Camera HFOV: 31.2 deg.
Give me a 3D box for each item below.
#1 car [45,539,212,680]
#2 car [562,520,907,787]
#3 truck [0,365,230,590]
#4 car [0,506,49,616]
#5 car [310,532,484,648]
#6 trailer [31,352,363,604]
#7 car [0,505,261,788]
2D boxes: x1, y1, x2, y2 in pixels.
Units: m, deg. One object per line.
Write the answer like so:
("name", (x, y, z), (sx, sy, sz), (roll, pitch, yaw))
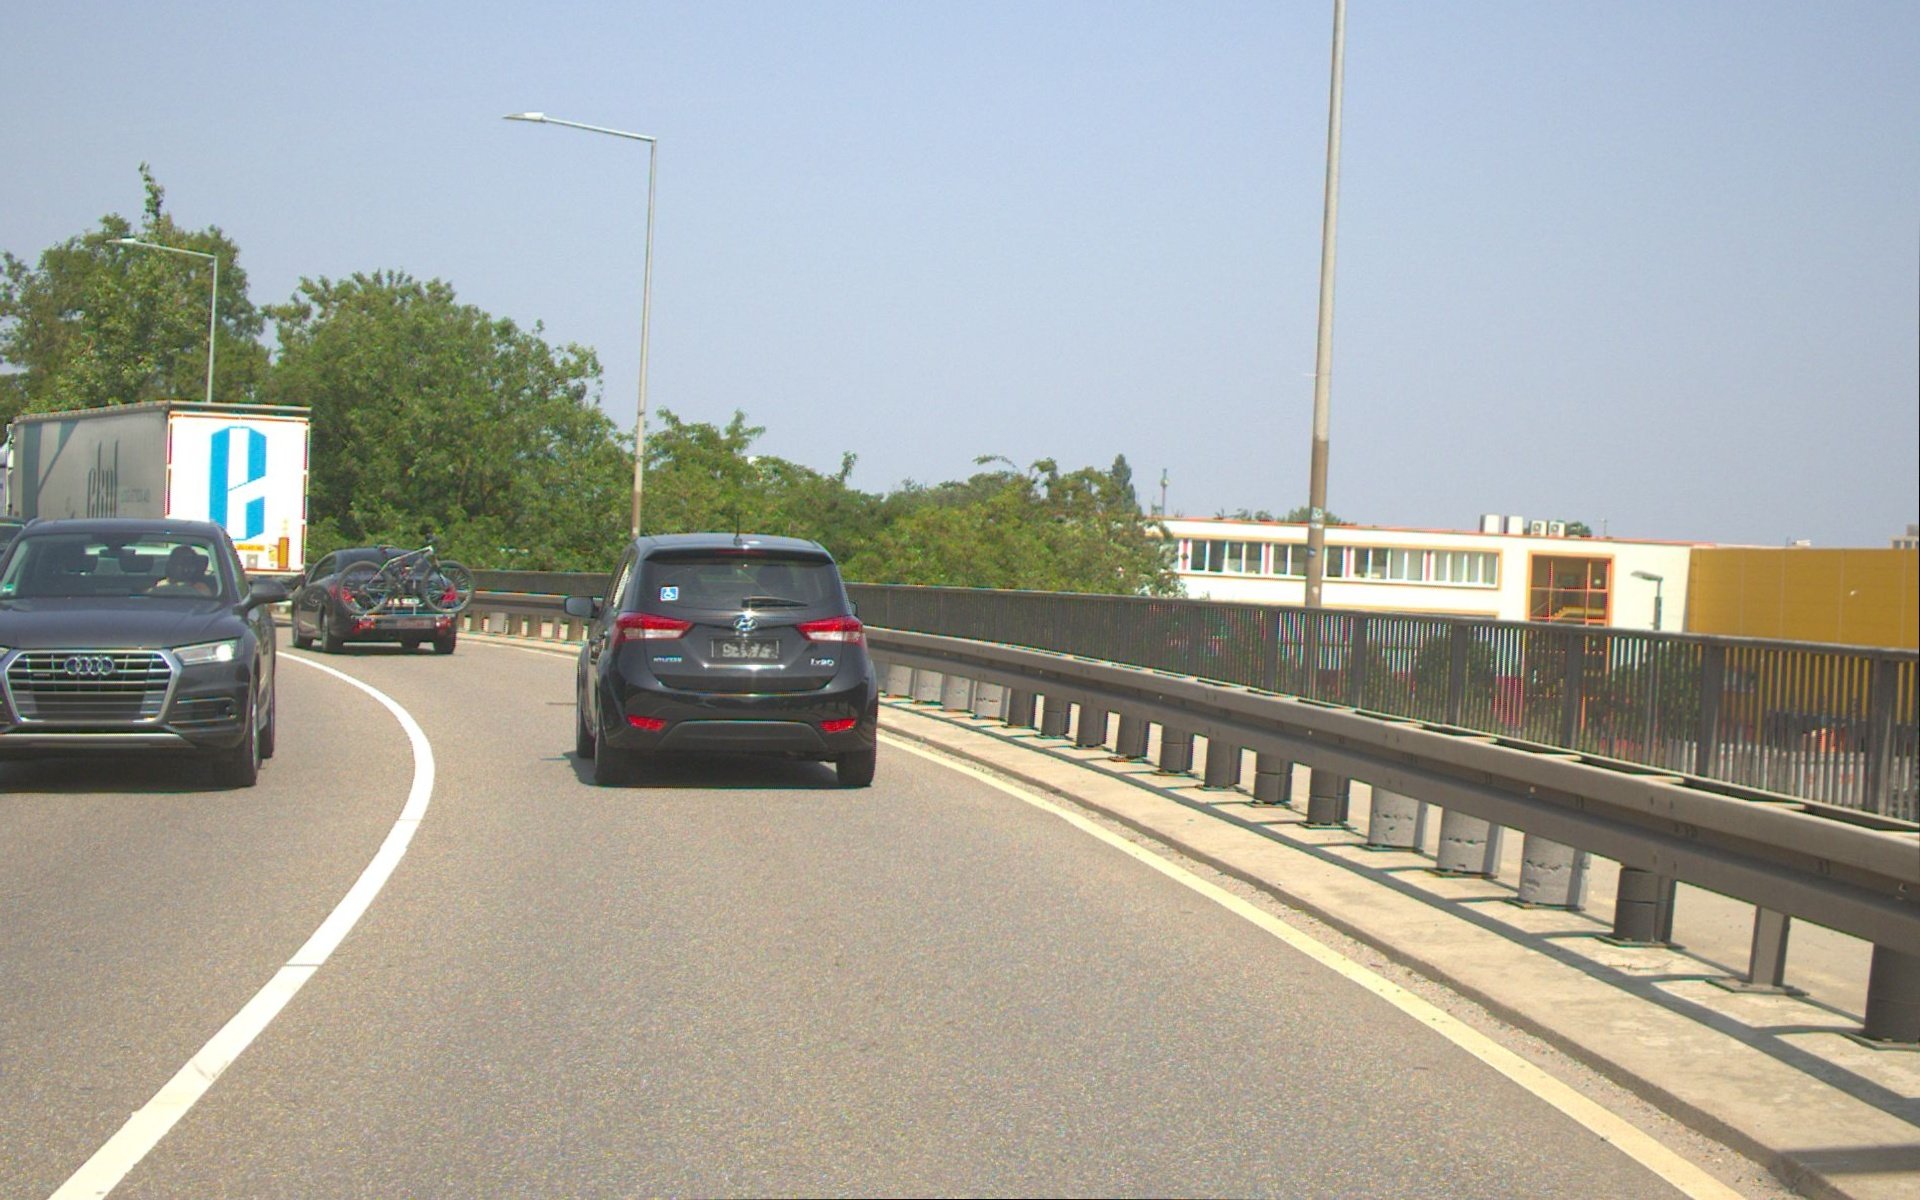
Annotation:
("car", (-9.426, 0.078, 39.151), (1.664, 1.459, 3.487), (1, 1, -11))
("car", (-1.590, 0.289, 22.828), (1.921, 1.568, 3.893), (1, 1, -9))
("truck", (-17.988, -2.552, 72.224), (3.572, 4.425, 6.516), (1, 2, -27))
("car", (-18.246, -0.715, 63.596), (2.006, 1.952, 5.272), (0, 0, -22))
("car", (-7.625, -0.159, 46.333), (2.011, 1.424, 3.778), (1, 1, -14))
("trailer", (-14.853, -2.315, 65.937), (3.569, 4.369, 11.443), (1, 2, -26))
("car", (-5.452, 0.211, 21.988), (1.841, 1.630, 4.235), (0, 2, -10))
